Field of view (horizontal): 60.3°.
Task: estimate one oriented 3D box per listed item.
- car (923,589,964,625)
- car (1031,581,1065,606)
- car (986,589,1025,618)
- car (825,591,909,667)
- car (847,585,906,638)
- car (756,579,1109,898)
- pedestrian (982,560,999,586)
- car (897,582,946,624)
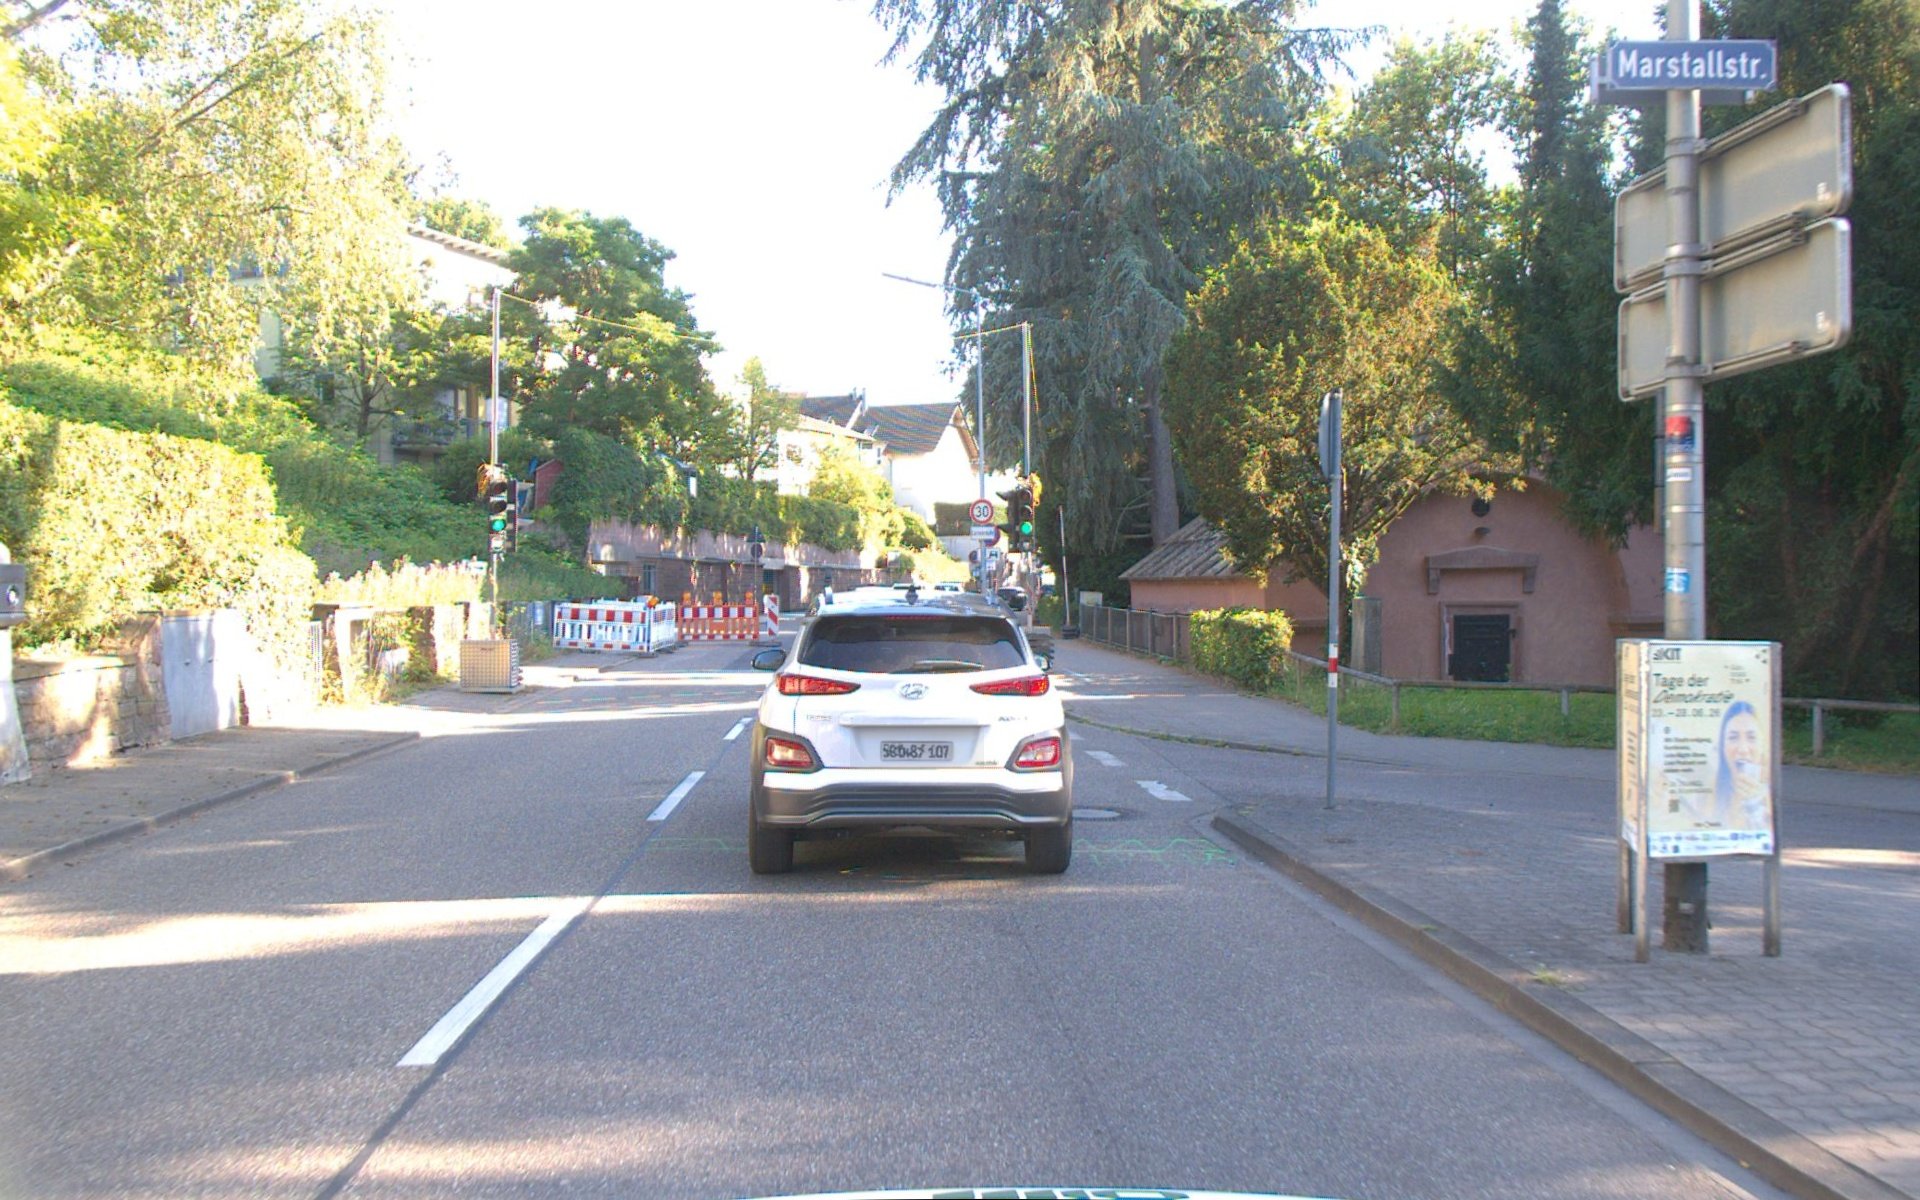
[{"bbox_3d":[-0.814,0.335,84.566,1.793,1.771,4.002,1,0,3],"label":"car"},{"bbox_3d":[6.104,-0.444,114.404,1.792,1.691,4.004,1,1,11],"label":"car"},{"bbox_3d":[2.794,0.214,100.735,1.792,1.691,4.004,1,1,9],"label":"car"},{"bbox_3d":[-2.019,0.568,35.529,1.674,1.459,4.362,1,1,-4],"label":"car"},{"bbox_3d":[-2.670,0.327,52.555,1.769,1.564,3.998,1,1,-3],"label":"car"},{"bbox_3d":[-0.366,0.697,10.458,1.786,1.601,3.994,1,1,-7],"label":"car"},{"bbox_3d":[2.221,-1.976,121.534,1.056,1.945,0.841,1,0,13],"label":"pedestrian"},{"bbox_3d":[-1.586,0.096,69.724,1.793,1.691,4.001,2,1,2],"label":"car"}]
